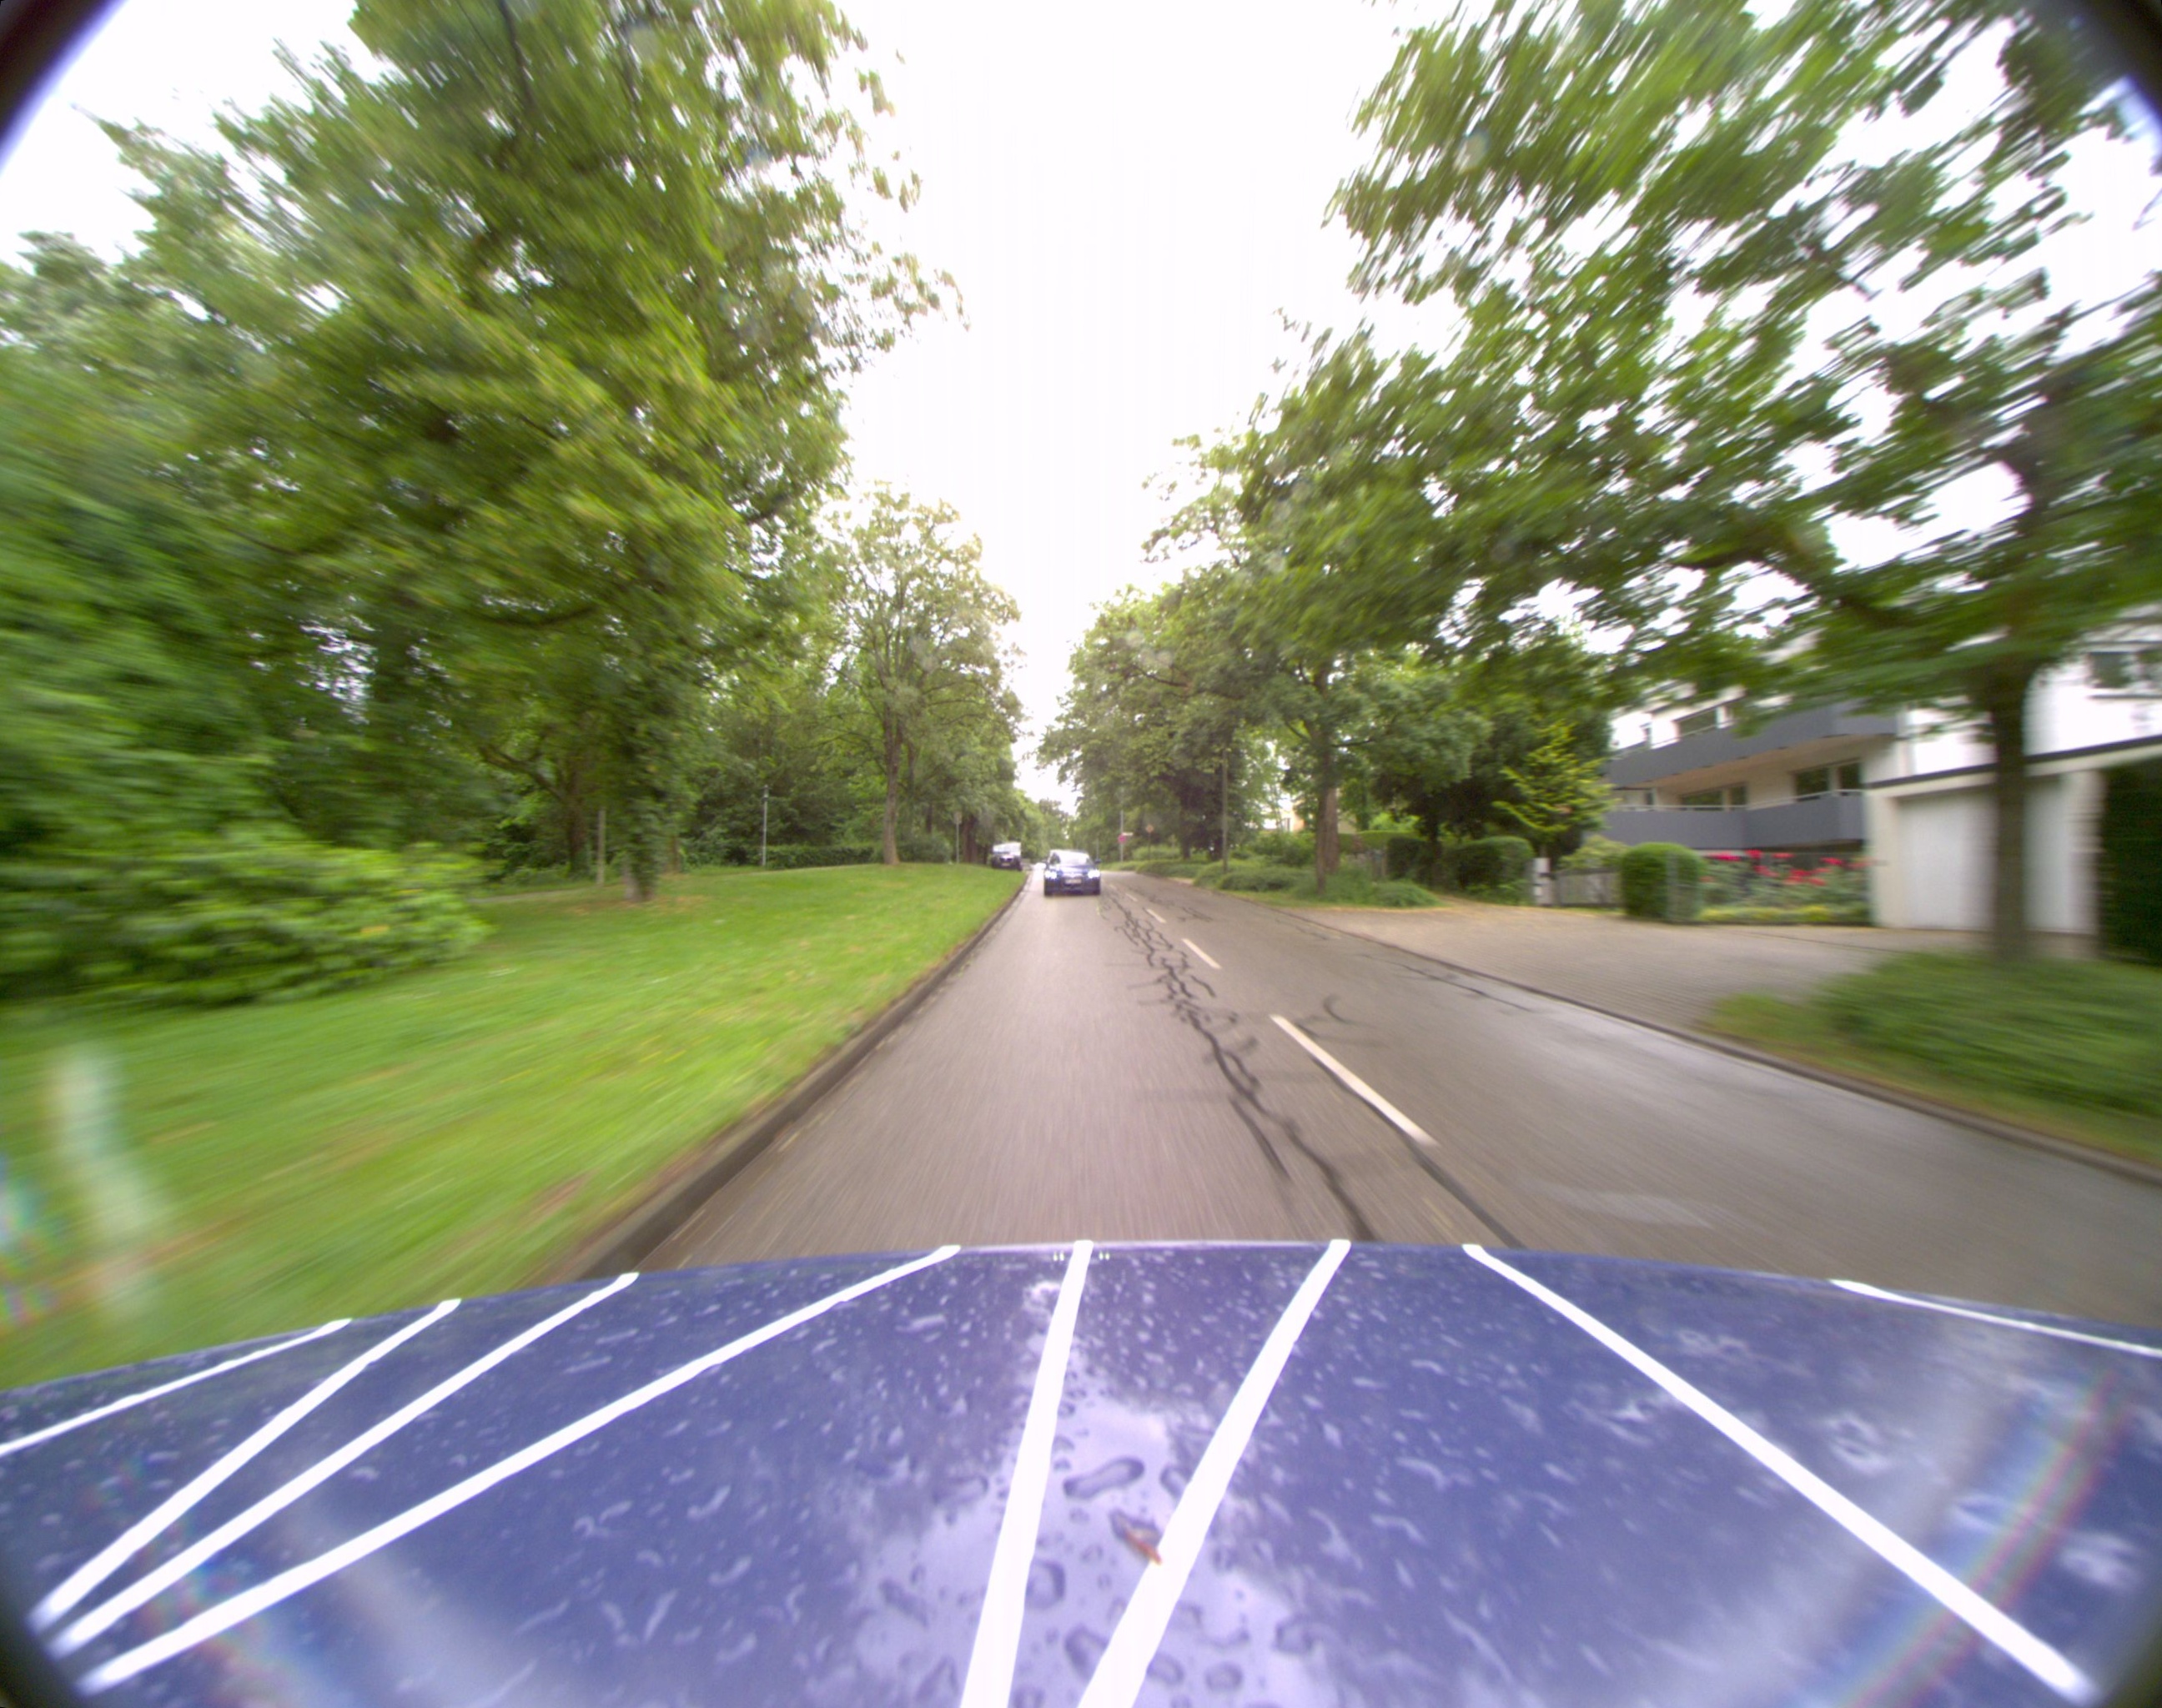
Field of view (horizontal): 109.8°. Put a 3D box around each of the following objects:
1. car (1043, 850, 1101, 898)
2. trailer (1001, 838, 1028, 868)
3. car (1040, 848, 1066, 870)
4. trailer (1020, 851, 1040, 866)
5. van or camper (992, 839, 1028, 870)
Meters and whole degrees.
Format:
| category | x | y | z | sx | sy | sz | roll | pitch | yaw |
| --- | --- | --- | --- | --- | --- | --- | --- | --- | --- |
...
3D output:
| category | x | y | z | sx | sy | sz | roll | pitch | yaw |
| --- | --- | --- | --- | --- | --- | --- | --- | --- | --- |
| car | -0.323 | 0.615 | 26.352 | 1.796 | 1.459 | 4.509 | -2 | 1 | -1 |
| trailer | -4.714 | -0.082 | 54.248 | 1.701 | 2.042 | 3.950 | 0 | 0 | -2 |
| car | -2.059 | 0.387 | 54.623 | 1.797 | 1.458 | 4.510 | 0 | -2 | -4 |
| trailer | -5.792 | 0.550 | 86.885 | 1.999 | 1.590 | 4.571 | -1 | -2 | -2 |
| van or camper | -4.531 | 0.056 | 49.231 | 1.999 | 1.858 | 5.663 | 1 | 0 | -2 |
